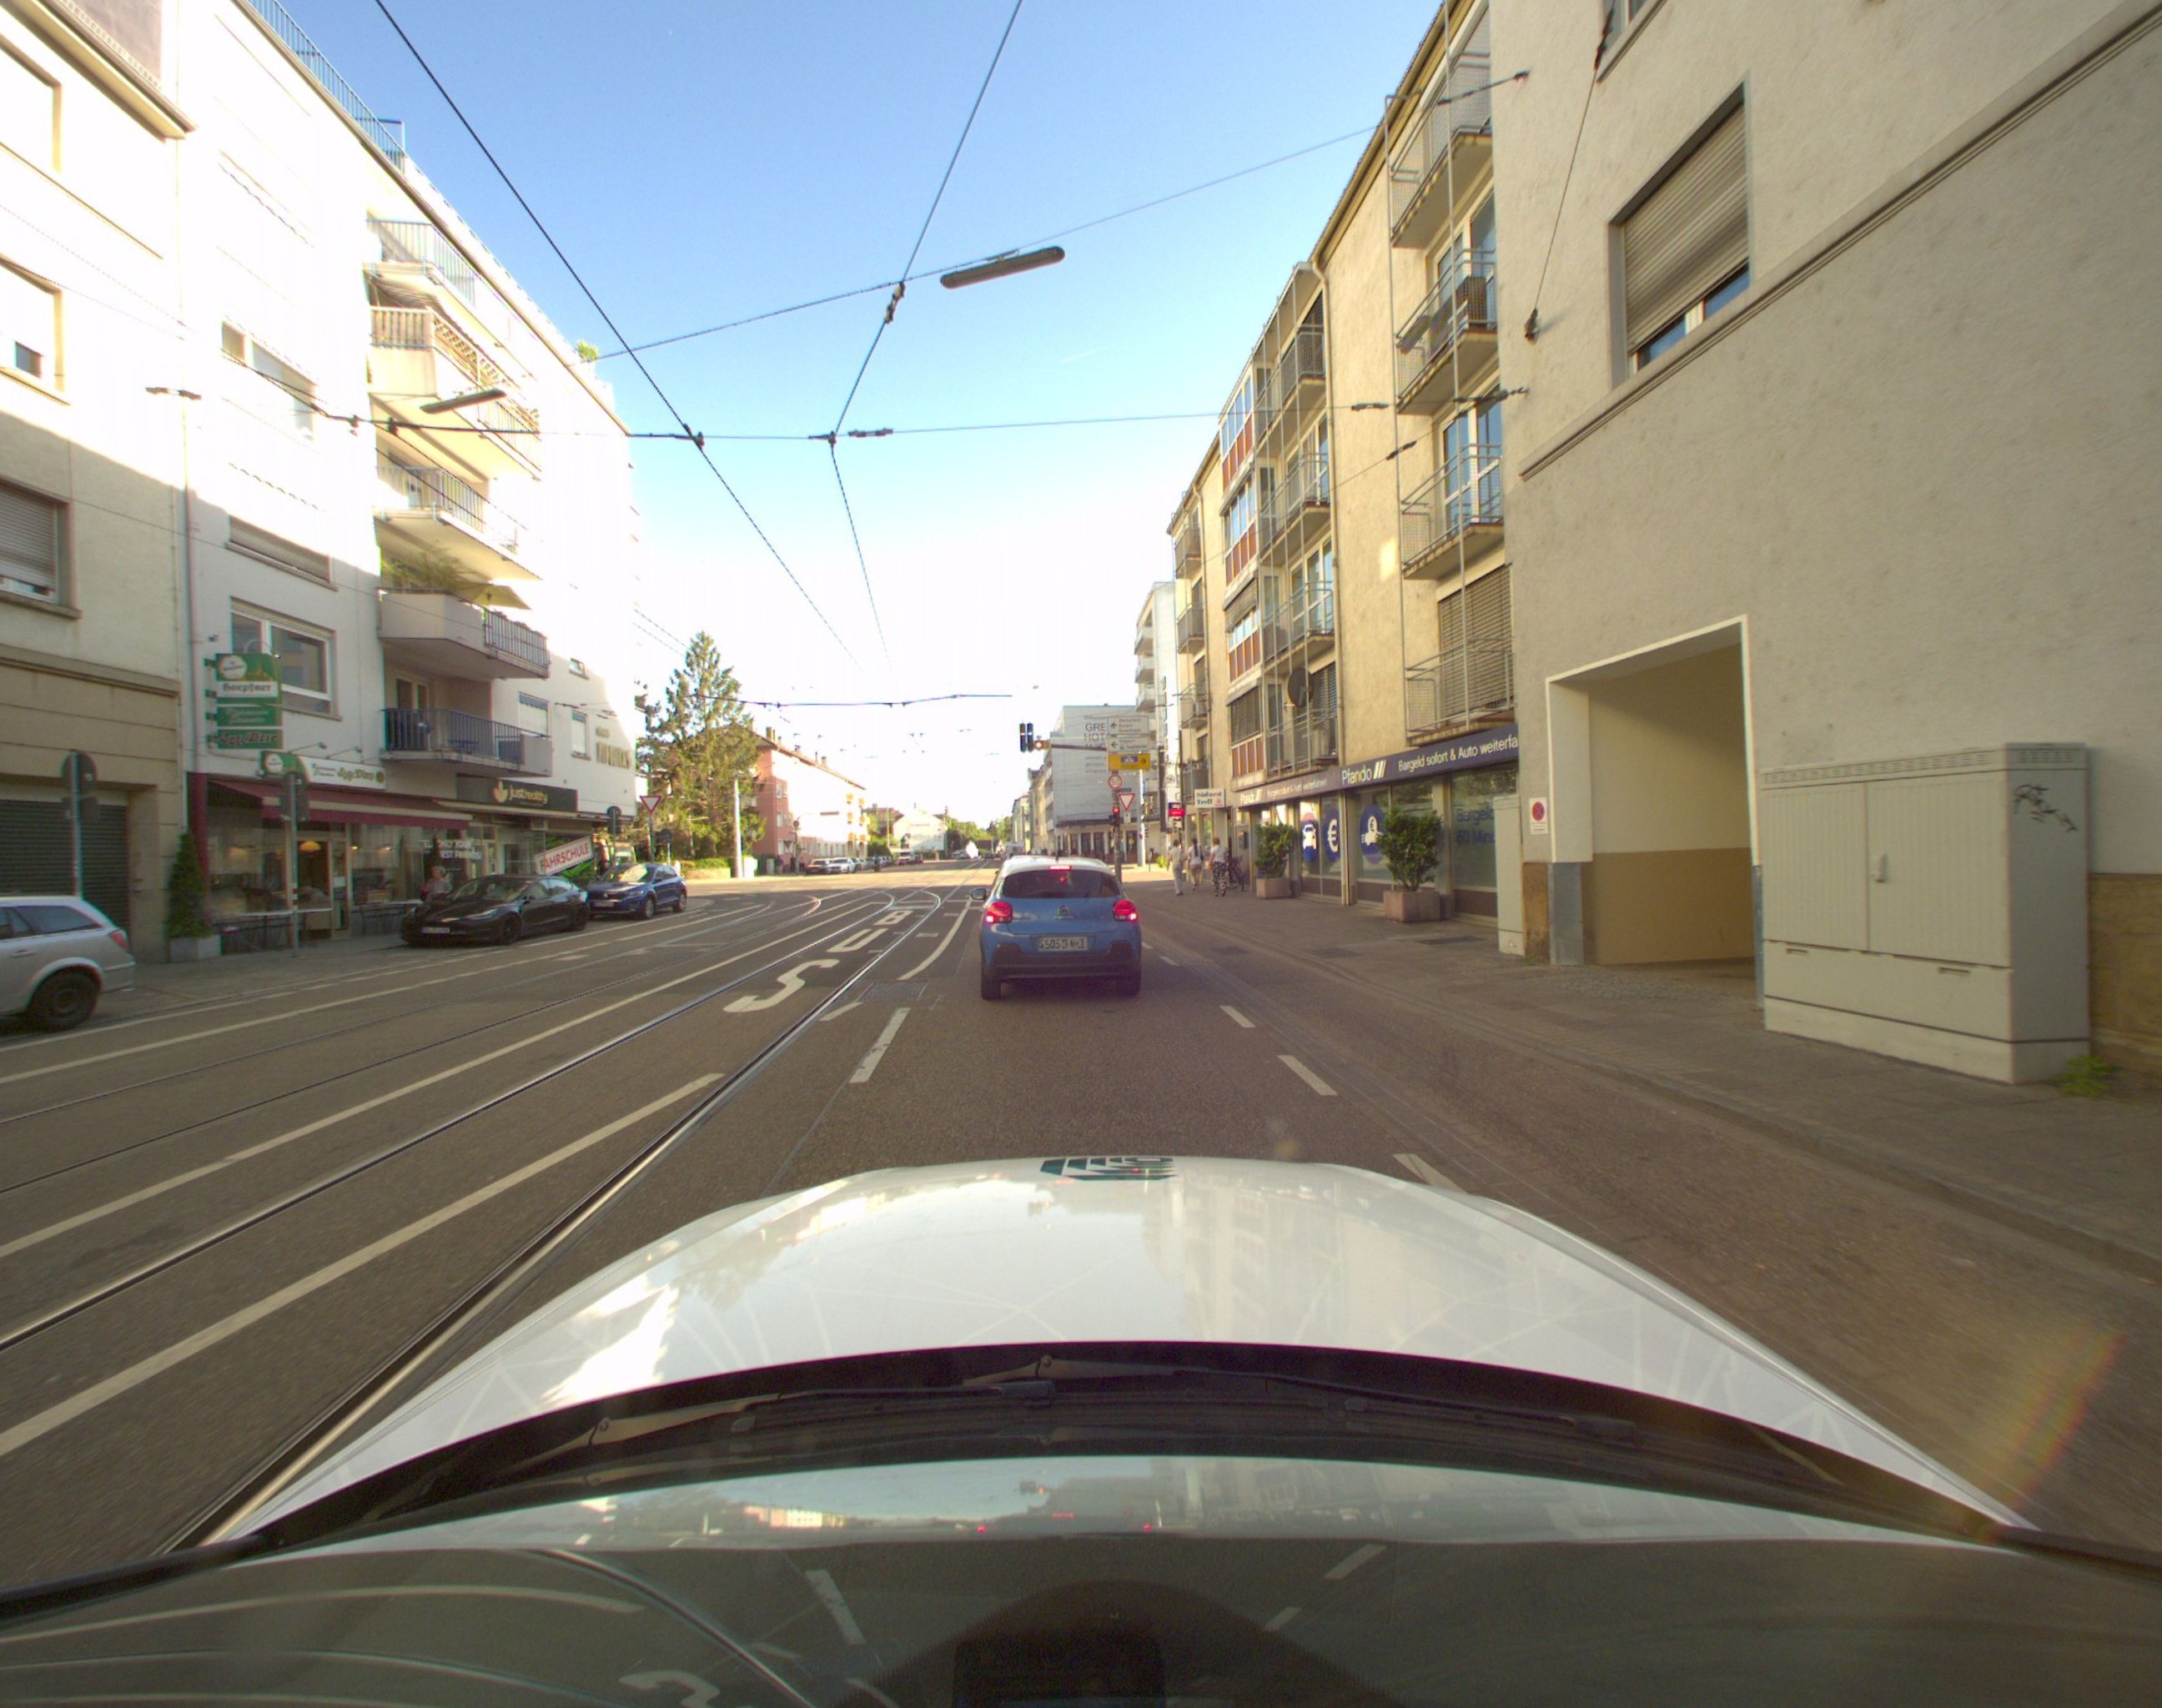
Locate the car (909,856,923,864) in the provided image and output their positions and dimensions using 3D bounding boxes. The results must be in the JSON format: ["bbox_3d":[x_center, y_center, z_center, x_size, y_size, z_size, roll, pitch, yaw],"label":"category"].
[{"bbox_3d":[-30.714,1.108,151.638,2.019,1.525,3.991,-1,0,-7],"label":"car"}]

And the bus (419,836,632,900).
[{"bbox_3d":[-31.008,0.757,45.711,10.121,3.158,2.733,-2,0,2],"label":"bus"}]

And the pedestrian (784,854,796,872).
[{"bbox_3d":[-27.556,0.847,77.041,0.841,1.690,0.737,-2,0,0],"label":"pedestrian"}]

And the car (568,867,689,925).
[{"bbox_3d":[-13.089,1.166,23.857,1.743,1.509,3.989,0,-1,-8],"label":"car"}]

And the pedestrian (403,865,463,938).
[{"bbox_3d":[-14.381,1.031,18.084,0.696,1.548,0.721,-2,1,-3],"label":"pedestrian"}]

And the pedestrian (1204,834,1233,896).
[{"bbox_3d":[3.802,0.295,22.526,0.540,1.672,0.649,-4,0,-5],"label":"pedestrian"}]

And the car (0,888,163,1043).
[{"bbox_3d":[-11.687,1.145,7.534,1.697,1.509,4.377,0,-1,-6],"label":"car"}]

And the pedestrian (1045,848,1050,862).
[{"bbox_3d":[-3.781,0.076,91.943,0.492,1.556,0.645,-2,0,-15],"label":"pedestrian"}]

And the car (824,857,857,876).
[{"bbox_3d":[-21.649,1.127,73.451,1.845,1.574,4.397,-1,0,-2],"label":"car"}]

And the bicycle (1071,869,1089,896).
[{"bbox_3d":[-0.044,1.018,29.380,0.498,0.864,1.746,-2,0,-5],"label":"bicycle"}]

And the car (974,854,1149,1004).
[{"bbox_3d":[-0.375,0.735,10.075,1.741,1.462,3.992,0,0,-6],"label":"car"}]

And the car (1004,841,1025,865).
[{"bbox_3d":[-6.588,-0.061,80.858,1.991,2.325,3.992,-1,0,-6],"label":"car"}]

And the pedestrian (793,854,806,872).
[{"bbox_3d":[-26.685,0.835,77.197,0.841,1.690,0.737,-2,0,0],"label":"pedestrian"}]

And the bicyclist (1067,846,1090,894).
[{"bbox_3d":[-0.097,0.558,29.058,0.724,1.646,0.789,-2,0,-3],"label":"bicyclist"}]

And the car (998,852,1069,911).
[{"bbox_3d":[-1.267,0.667,22.257,1.734,1.420,3.996,-1,0,-3],"label":"car"}]

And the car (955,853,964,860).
[{"bbox_3d":[-28.980,0.574,194.225,2.019,1.525,3.991,-2,0,-7],"label":"car"}]

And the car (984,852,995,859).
[{"bbox_3d":[-17.258,0.363,153.394,1.755,1.259,3.819,-1,0,-9],"label":"car"}]

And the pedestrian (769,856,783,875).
[{"bbox_3d":[-26.670,1.006,71.244,0.841,1.690,0.737,-2,0,0],"label":"pedestrian"}]

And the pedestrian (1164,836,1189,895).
[{"bbox_3d":[2.824,0.333,24.073,0.540,1.672,0.623,-4,2,-5],"label":"pedestrian"}]

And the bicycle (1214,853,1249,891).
[{"bbox_3d":[4.564,0.522,24.747,0.529,1.072,1.807,-2,0,-6],"label":"bicycle"}]

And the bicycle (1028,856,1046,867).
[{"bbox_3d":[-4.155,0.736,76.953,1.715,0.957,0.701,-2,0,-2],"label":"bicycle"}]

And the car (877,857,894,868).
[{"bbox_3d":[-29.584,1.320,123.354,1.868,1.574,3.992,-2,0,-6],"label":"car"}]

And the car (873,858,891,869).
[{"bbox_3d":[-28.898,1.350,118.251,1.909,1.497,3.991,-2,0,-7],"label":"car"}]

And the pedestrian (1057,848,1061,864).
[{"bbox_3d":[-2.115,0.199,78.786,0.284,1.556,0.304,-2,0,-11],"label":"pedestrian"}]

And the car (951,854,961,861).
[{"bbox_3d":[-27.119,0.706,176.759,2.019,1.525,3.991,-1,0,-7],"label":"car"}]

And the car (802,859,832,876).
[{"bbox_3d":[-24.343,1.209,75.082,1.910,1.433,3.989,-2,0,-8],"label":"car"}]

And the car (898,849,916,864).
[{"bbox_3d":[-26.963,0.406,126.659,2.204,2.251,4.666,-2,0,-6],"label":"car"}]

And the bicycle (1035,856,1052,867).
[{"bbox_3d":[-3.434,0.718,74.572,1.499,0.957,0.701,-2,0,-2],"label":"bicycle"}]

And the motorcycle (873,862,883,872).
[{"bbox_3d":[-18.691,1.205,75.034,0.614,0.864,1.669,-2,0,-2],"label":"motorcycle"}]

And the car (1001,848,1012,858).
[{"bbox_3d":[-12.730,-0.192,139.425,1.686,1.618,3.993,-1,0,-5],"label":"car"}]

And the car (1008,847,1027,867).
[{"bbox_3d":[-5.933,0.264,75.975,1.730,1.750,3.207,-1,0,-6],"label":"car"}]

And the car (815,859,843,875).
[{"bbox_3d":[-25.291,1.287,81.955,1.909,1.497,3.991,-2,0,-7],"label":"car"}]

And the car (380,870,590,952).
[{"bbox_3d":[-12.745,1.131,17.812,1.697,1.509,4.303,0,-1,-5],"label":"car"}]

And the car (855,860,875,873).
[{"bbox_3d":[-27.765,1.555,104.947,1.909,1.497,3.991,-2,0,-7],"label":"car"}]

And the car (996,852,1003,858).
[{"bbox_3d":[-25.576,0.178,255.019,1.989,1.794,3.996,-1,0,-3],"label":"car"}]

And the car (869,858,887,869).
[{"bbox_3d":[-28.222,1.327,113.331,1.909,1.497,3.991,-2,0,-7],"label":"car"}]

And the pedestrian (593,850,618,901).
[{"bbox_3d":[-19.195,0.874,32.864,0.686,2.013,0.485,-2,0,-9],"label":"pedestrian"}]

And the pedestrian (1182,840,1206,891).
[{"bbox_3d":[3.526,0.345,25.340,0.540,1.507,0.610,-4,2,-5],"label":"pedestrian"}]

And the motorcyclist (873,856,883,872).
[{"bbox_3d":[-18.682,0.918,74.880,0.717,1.378,0.910,-2,0,-3],"label":"motorcyclist"}]

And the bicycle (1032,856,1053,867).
[{"bbox_3d":[-3.572,0.722,75.625,1.868,0.957,0.701,-2,0,-2],"label":"bicycle"}]
